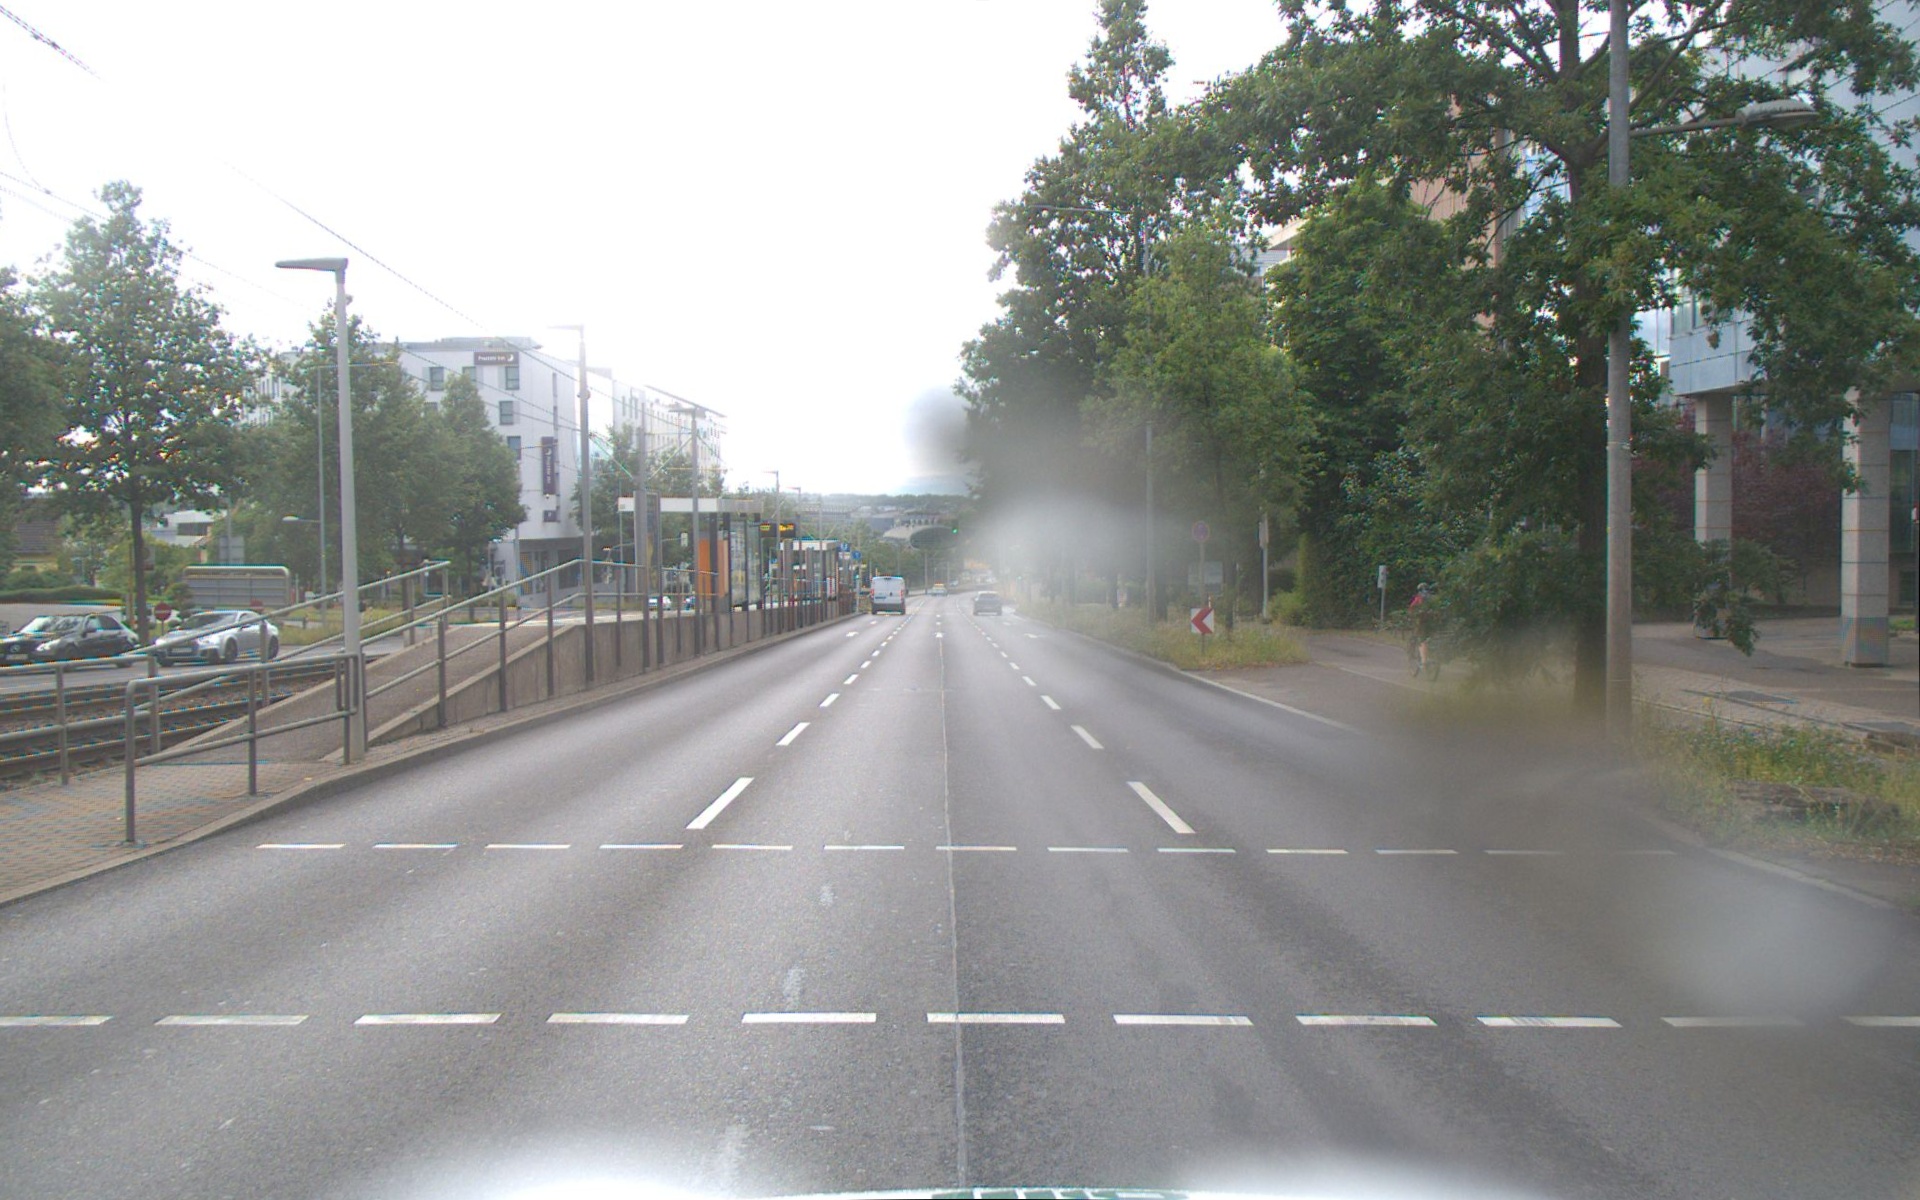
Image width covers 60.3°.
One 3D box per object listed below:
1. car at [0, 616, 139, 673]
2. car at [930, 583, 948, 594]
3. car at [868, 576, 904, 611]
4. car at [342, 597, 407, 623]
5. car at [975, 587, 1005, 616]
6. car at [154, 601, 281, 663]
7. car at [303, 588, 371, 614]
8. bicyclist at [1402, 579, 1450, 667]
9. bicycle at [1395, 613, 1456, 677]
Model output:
[{"bbox_3d":[-22.236,1.078,41.202,1.616,1.258,3.968,0,1,-1],"label":"car"},{"bbox_3d":[-2.663,-1.464,209.568,1.745,1.414,4.003,0,0,7],"label":"car"},{"bbox_3d":[-4.546,-0.403,102.004,2.050,2.089,4.605,0,0,-1],"label":"car"},{"bbox_3d":[-33.415,0.572,94.452,3.297,1.411,1.434,0,0,16],"label":"car"},{"bbox_3d":[1.824,0.077,102.726,1.738,1.720,3.844,0,0,-1],"label":"car"},{"bbox_3d":[-19.528,0.810,43.670,1.617,1.461,3.878,-2,0,-2],"label":"car"},{"bbox_3d":[-34.161,0.062,90.677,3.297,1.411,1.434,0,0,16],"label":"car"},{"bbox_3d":[8.678,0.427,30.822,0.633,1.606,0.854,1,0,-1],"label":"bicyclist"},{"bbox_3d":[8.689,0.824,30.935,0.569,1.107,1.905,1,0,-1],"label":"bicycle"}]
